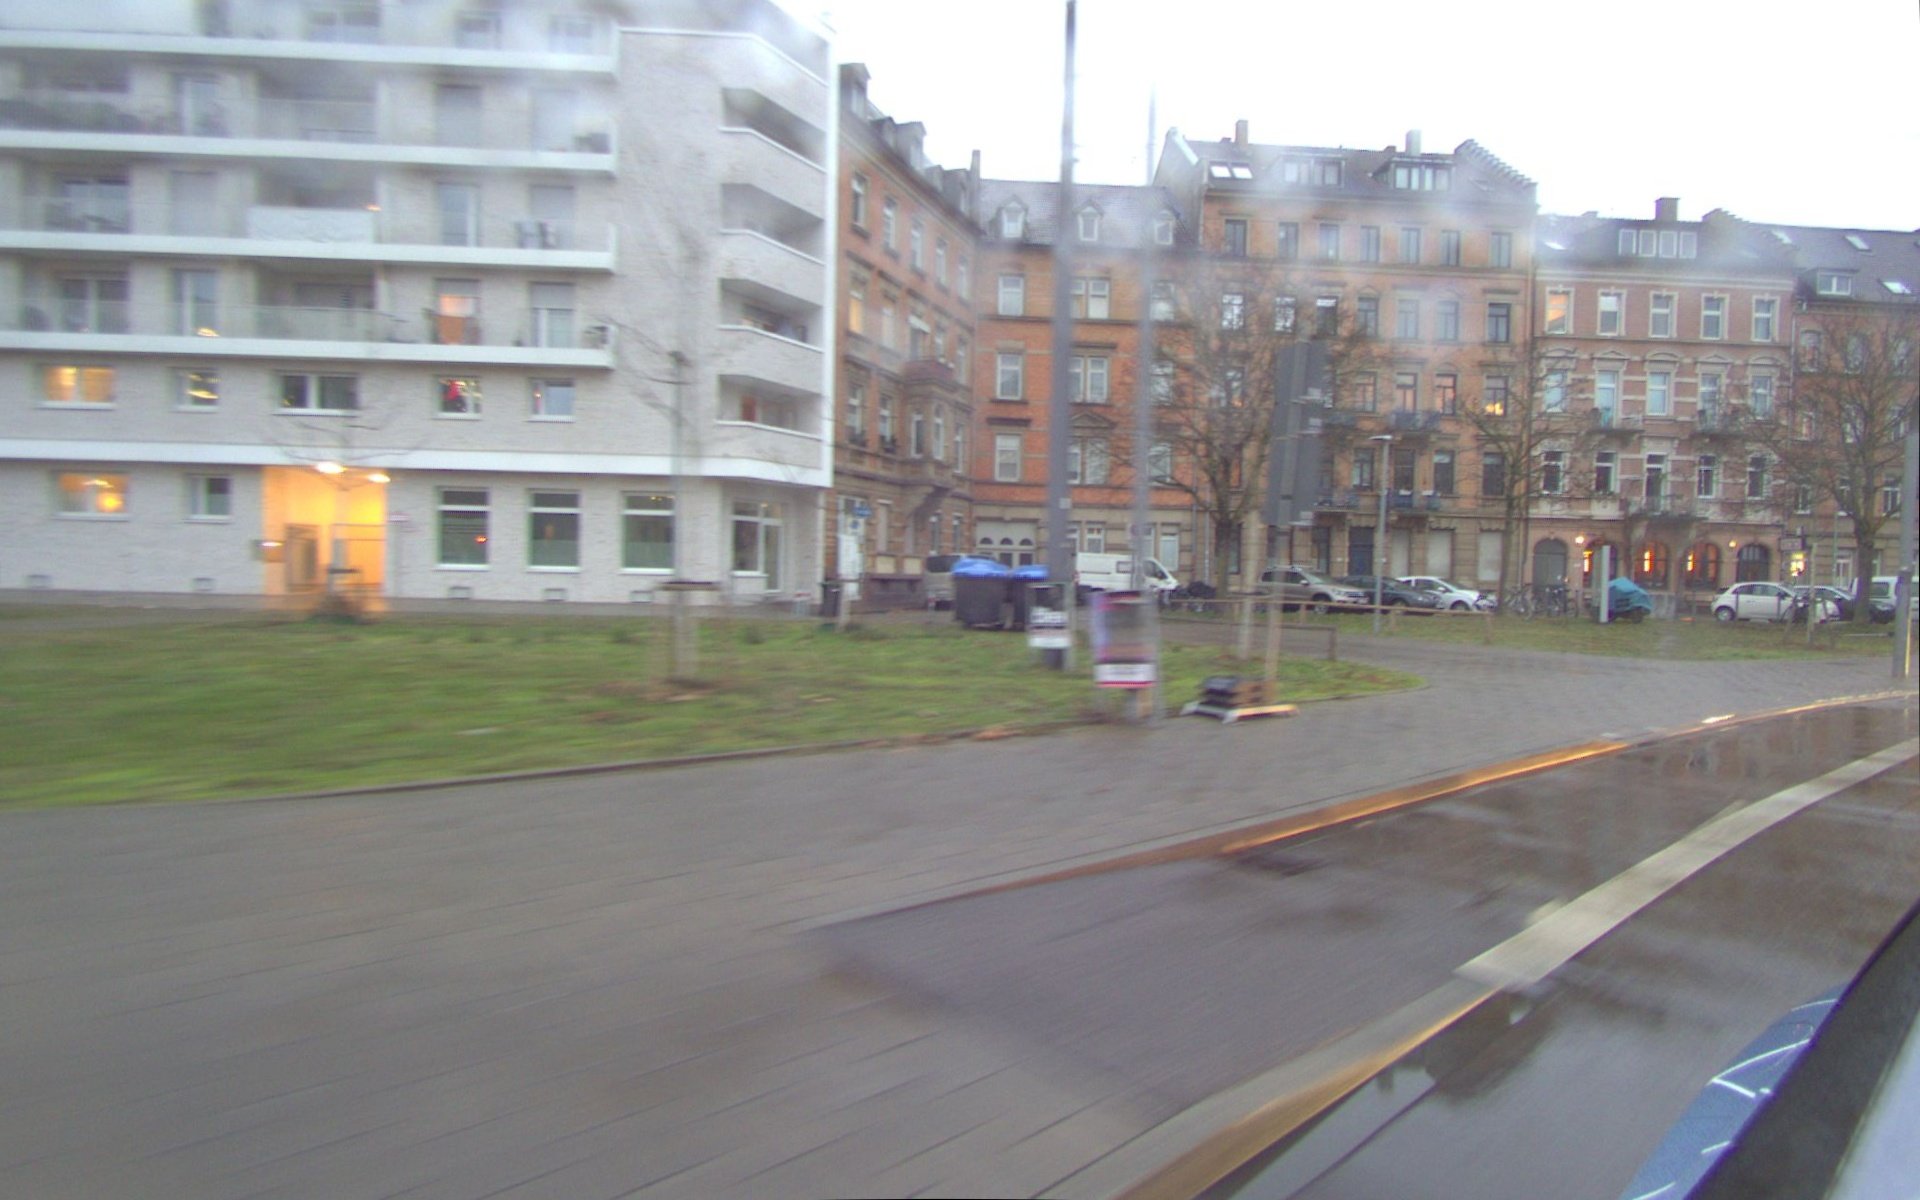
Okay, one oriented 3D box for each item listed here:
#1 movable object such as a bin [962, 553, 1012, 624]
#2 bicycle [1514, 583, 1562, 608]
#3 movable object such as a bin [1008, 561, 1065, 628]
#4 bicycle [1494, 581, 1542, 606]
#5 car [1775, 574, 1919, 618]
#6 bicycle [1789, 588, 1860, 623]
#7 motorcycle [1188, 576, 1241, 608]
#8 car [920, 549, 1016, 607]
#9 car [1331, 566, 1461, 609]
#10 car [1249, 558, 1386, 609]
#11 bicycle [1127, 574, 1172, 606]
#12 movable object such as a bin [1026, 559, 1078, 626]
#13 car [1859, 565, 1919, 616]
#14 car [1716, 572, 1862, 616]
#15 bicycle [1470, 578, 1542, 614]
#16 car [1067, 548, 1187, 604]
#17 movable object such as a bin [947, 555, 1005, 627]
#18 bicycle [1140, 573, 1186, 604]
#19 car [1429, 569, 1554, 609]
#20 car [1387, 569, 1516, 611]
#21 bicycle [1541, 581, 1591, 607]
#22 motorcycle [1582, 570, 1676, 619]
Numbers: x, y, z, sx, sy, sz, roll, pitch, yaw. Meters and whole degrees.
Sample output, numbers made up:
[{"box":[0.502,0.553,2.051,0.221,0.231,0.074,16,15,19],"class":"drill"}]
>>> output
[{"box":[0.627,-0.281,23.839,1.119,1.595,1.053,1,1,2],"class":"movable object such as a bin"},{"box":[20.950,-0.185,36.712,0.437,0.787,1.800,1,3,-10],"class":"bicycle"},{"box":[1.686,-0.139,22.574,1.202,1.450,1.053,1,1,2],"class":"movable object such as a bin"},{"box":[20.277,-0.260,36.811,0.437,0.804,1.800,1,3,-10],"class":"bicycle"},{"box":[31.838,-0.167,36.371,1.491,1.454,3.691,0,2,-32],"class":"car"},{"box":[26.160,0.147,30.652,0.437,0.942,1.798,1,3,-5],"class":"bicycle"},{"box":[8.398,-0.274,33.429,0.503,0.942,1.797,0,4,-33],"class":"motorcycle"},{"box":[0.366,-0.830,37.040,1.921,1.966,4.564,2,2,23],"class":"car"},{"box":[14.609,-0.456,34.080,1.709,1.322,3.690,0,2,-34],"class":"car"},{"box":[12.000,-0.591,34.212,1.709,1.589,4.159,0,2,-34],"class":"car"},{"box":[6.245,-0.340,33.407,0.437,0.942,1.799,0,4,-27],"class":"bicycle"},{"box":[2.130,-0.182,23.671,1.119,1.504,1.053,1,1,2],"class":"movable object such as a bin"},{"box":[35.067,-0.303,35.945,1.747,1.790,4.348,0,2,-33],"class":"car"},{"box":[29.221,-0.241,35.774,1.491,1.417,3.691,0,2,-32],"class":"car"},{"box":[17.227,-0.132,31.947,1.881,1.031,0.534,3,3,17],"class":"bicycle"},{"box":[6.972,-1.023,42.516,4.568,2.216,2.003,1,1,-5],"class":"car"},{"box":[0.350,-0.206,22.402,1.230,1.529,1.053,1,1,2],"class":"movable object such as a bin"},{"box":[6.749,-0.398,33.683,0.437,0.942,1.799,0,4,-27],"class":"bicycle"},{"box":[18.935,-0.426,36.209,1.492,1.322,3.690,0,2,-34],"class":"car"},{"box":[16.884,-0.379,34.917,1.636,1.322,3.690,0,2,-34],"class":"car"},{"box":[22.108,-0.237,36.965,0.386,0.827,1.800,1,3,-13],"class":"bicycle"},{"box":[21.022,-0.209,31.858,0.866,1.361,2.365,0,5,-19],"class":"motorcycle"}]
